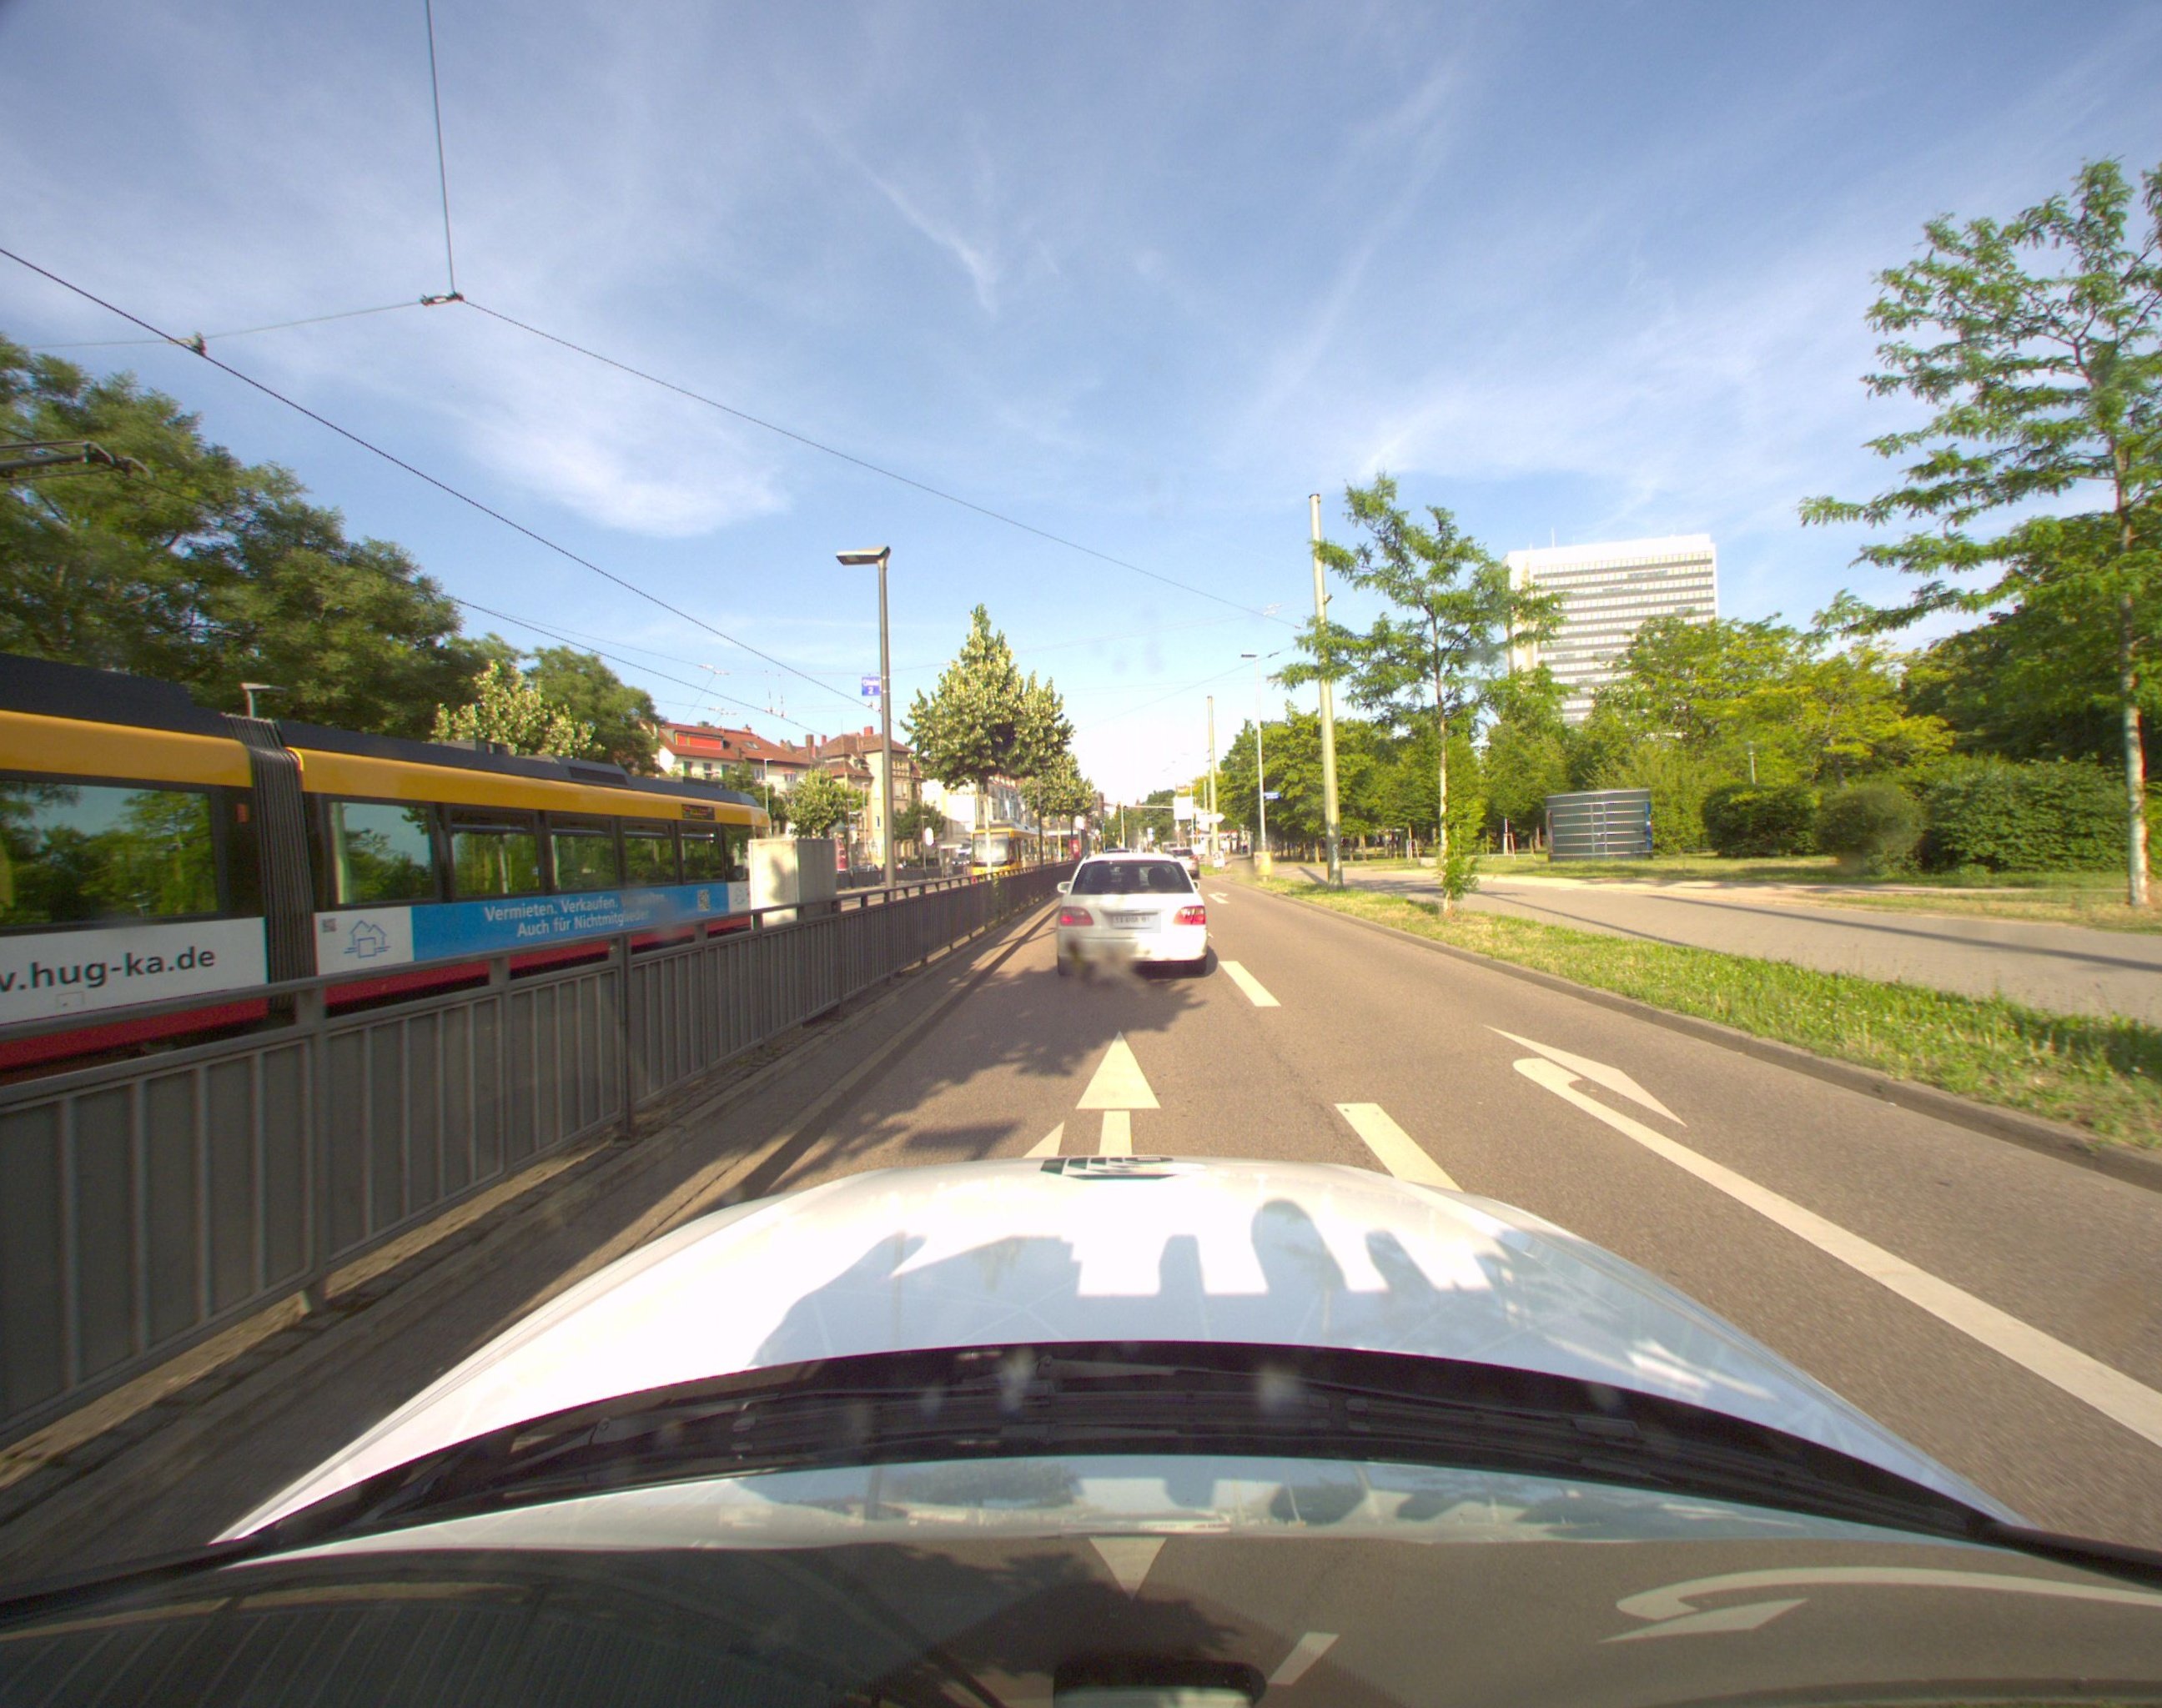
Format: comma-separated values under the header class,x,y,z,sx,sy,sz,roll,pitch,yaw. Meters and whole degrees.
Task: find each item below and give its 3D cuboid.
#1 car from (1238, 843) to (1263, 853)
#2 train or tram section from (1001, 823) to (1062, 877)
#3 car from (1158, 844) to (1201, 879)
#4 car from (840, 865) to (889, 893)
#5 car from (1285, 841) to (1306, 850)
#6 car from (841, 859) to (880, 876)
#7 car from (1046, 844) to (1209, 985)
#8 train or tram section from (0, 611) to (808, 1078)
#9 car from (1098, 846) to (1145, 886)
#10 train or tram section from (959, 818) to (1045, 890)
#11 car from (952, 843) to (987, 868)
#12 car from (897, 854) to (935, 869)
class,x,y,z,sx,sy,sz,roll,pitch,yaw
car,30.331,-1.074,145.741,3.949,1.651,2.012,-3,0,28
train or tram section,-3.448,-0.308,60.176,2.837,3.479,13.211,-2,0,3
car,4.992,0.354,41.225,2.022,1.605,4.008,-2,0,7
car,-14.333,1.628,54.055,1.986,1.684,4.002,-2,0,2
car,45.423,-1.784,172.628,4.005,1.651,1.984,-3,0,-24
car,-25.803,1.593,95.426,3.953,1.750,2.010,-2,0,20
car,0.691,0.725,10.749,1.749,1.504,4.005,0,-2,6
train or tram section,-8.907,-0.089,13.381,3.148,3.479,14.484,-2,0,3
car,1.908,0.496,37.451,1.777,1.690,4.009,-2,0,7
train or tram section,-4.232,-0.082,47.114,2.837,3.479,13.212,-1,1,3
car,-12.780,0.116,93.883,2.586,2.735,7.473,-2,0,2
car,-21.059,0.949,104.174,2.183,1.628,4.745,-2,0,26
